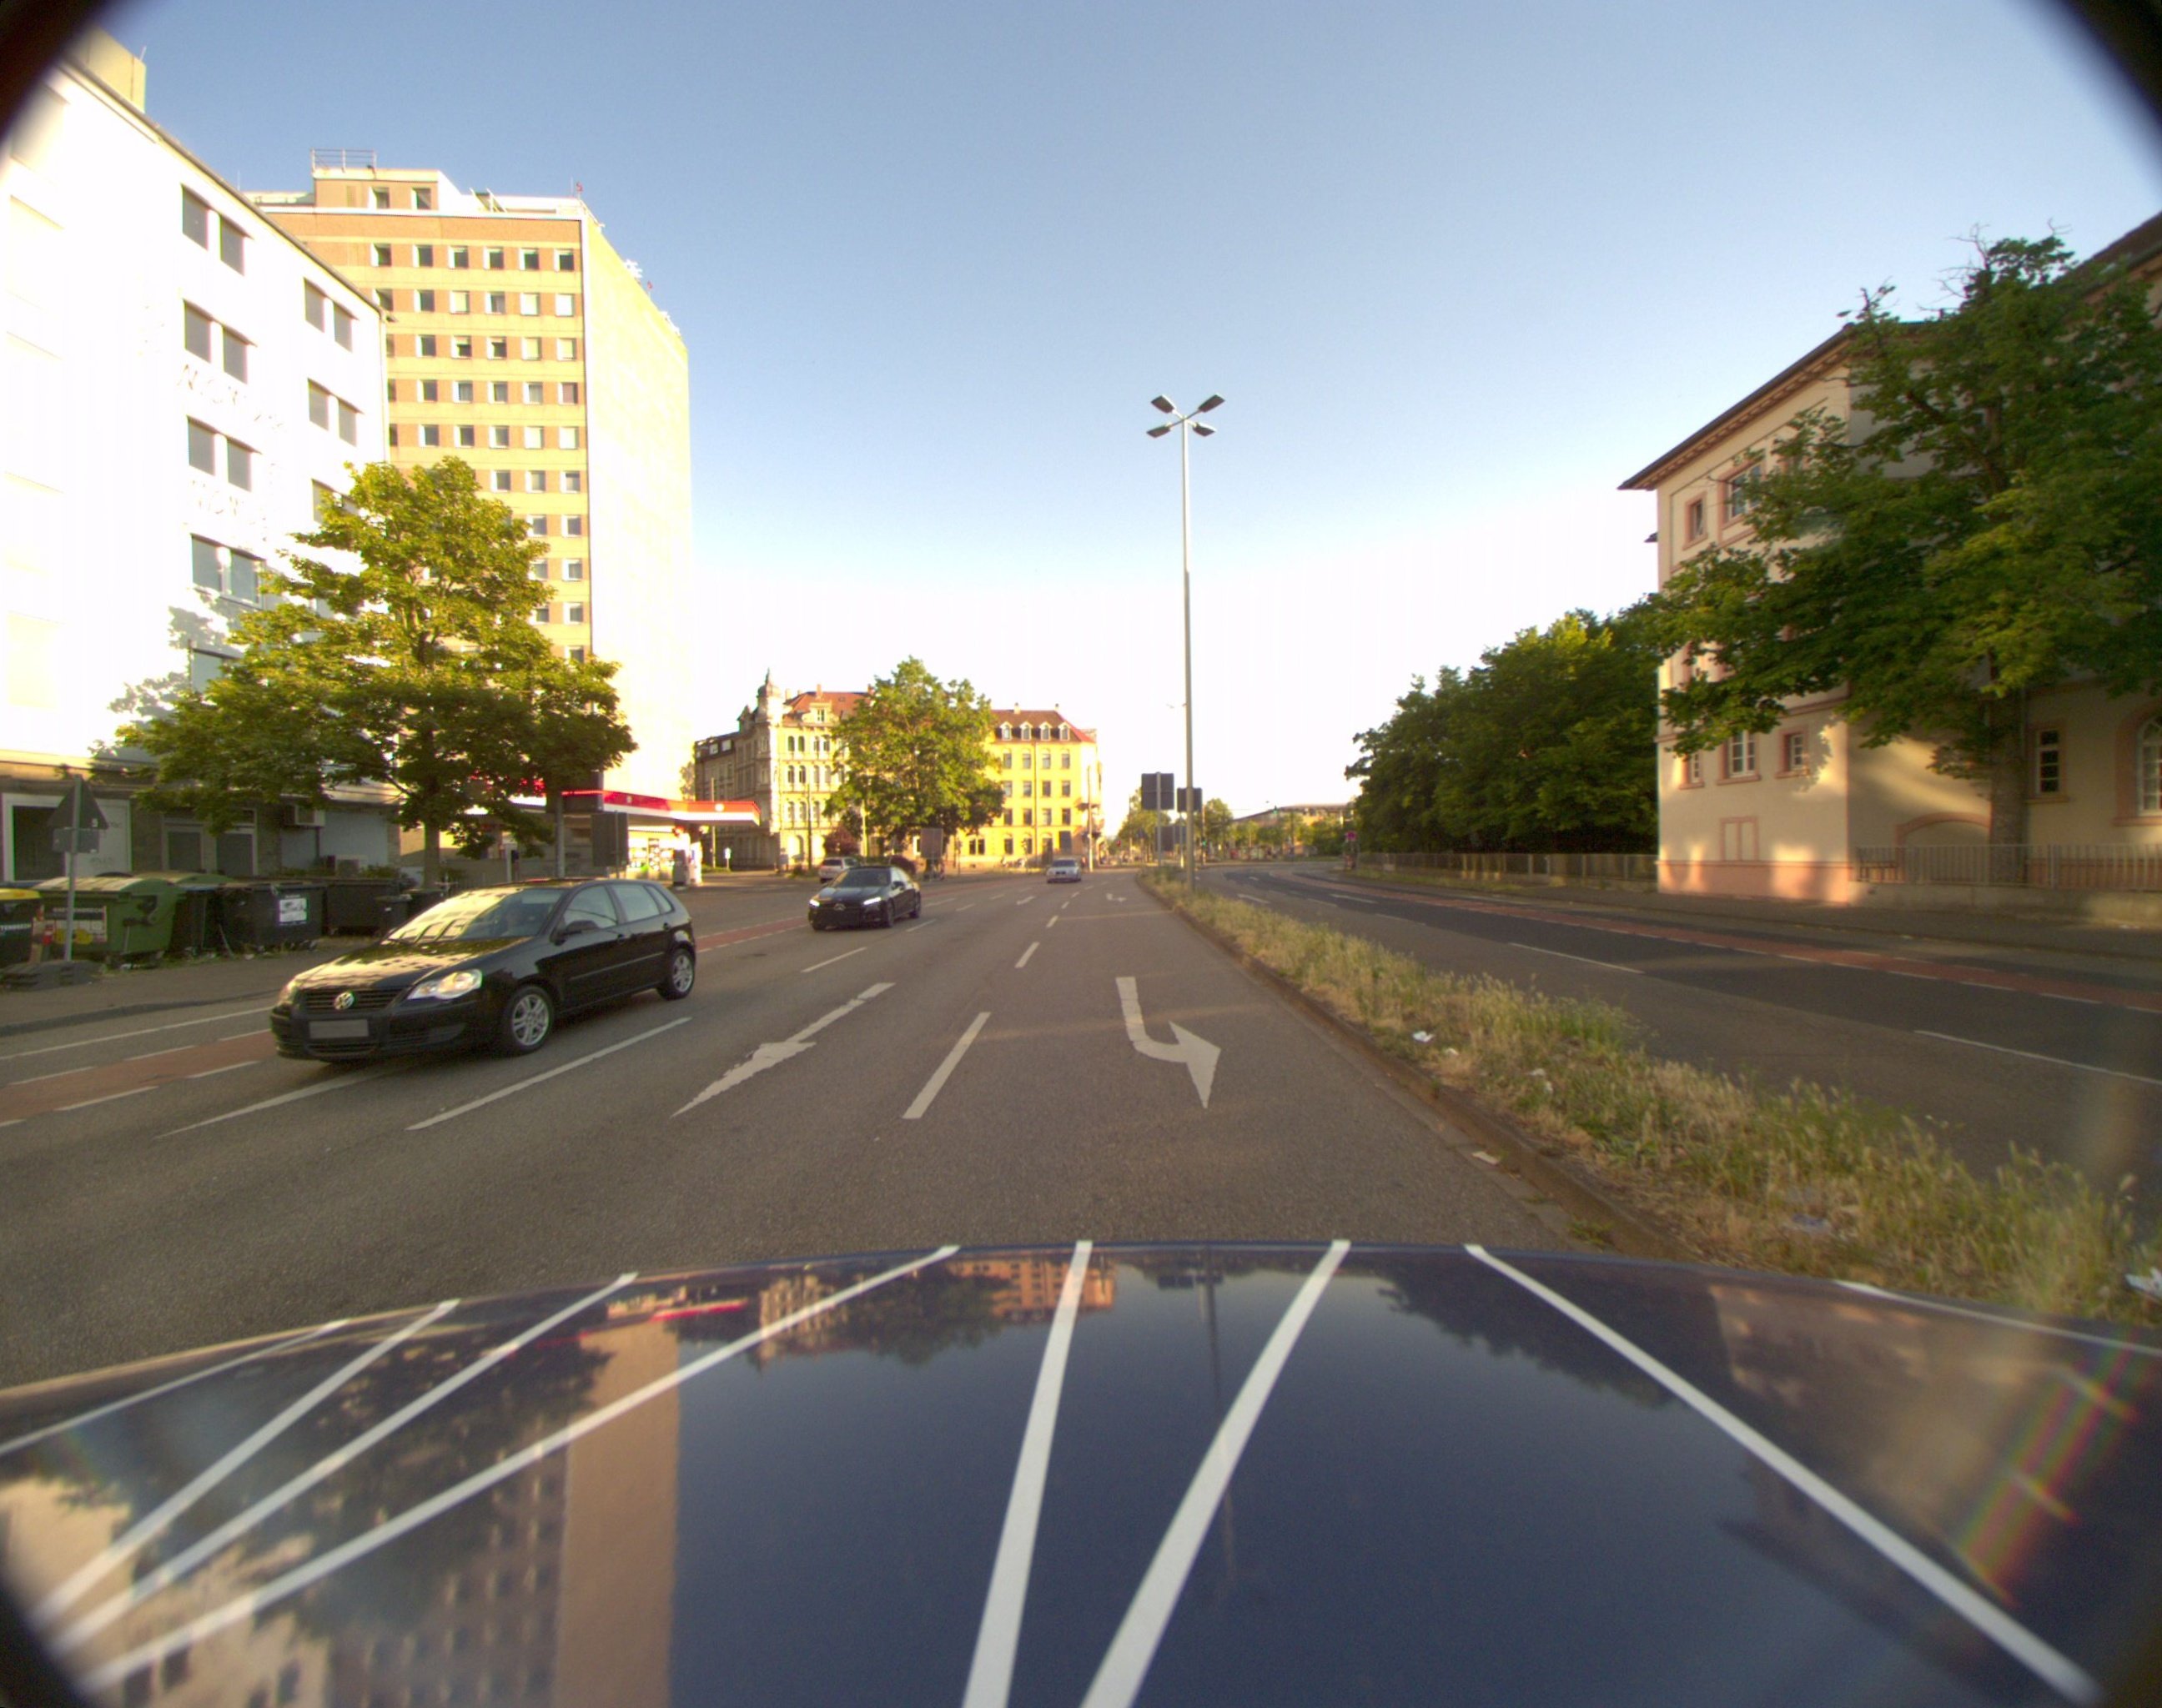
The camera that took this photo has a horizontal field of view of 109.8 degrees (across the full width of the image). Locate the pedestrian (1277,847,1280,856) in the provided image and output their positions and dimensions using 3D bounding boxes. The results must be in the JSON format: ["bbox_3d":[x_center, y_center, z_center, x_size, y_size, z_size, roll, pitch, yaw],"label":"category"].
[{"bbox_3d":[34.871,-0.419,134.179,0.467,1.695,0.419,-1,1,1],"label":"pedestrian"}]

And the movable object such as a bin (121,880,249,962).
[{"bbox_3d":[-17.127,1.257,14.570,1.034,1.440,1.162,-1,1,-2],"label":"movable object such as a bin"}]

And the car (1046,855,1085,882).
[{"bbox_3d":[-0.826,0.798,44.236,1.674,1.410,4.442,-2,0,6],"label":"car"}]

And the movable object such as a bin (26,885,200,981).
[{"bbox_3d":[-15.816,1.258,12.465,1.351,1.415,1.105,-1,1,-4],"label":"movable object such as a bin"}]

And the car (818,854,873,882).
[{"bbox_3d":[-13.958,0.818,45.282,1.688,1.508,3.798,-1,1,8],"label":"car"}]

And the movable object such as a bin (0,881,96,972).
[{"bbox_3d":[-18.694,1.254,13.411,1.034,1.490,1.162,-1,1,-2],"label":"movable object such as a bin"}]

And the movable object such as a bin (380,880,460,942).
[{"bbox_3d":[-14.884,1.263,17.142,0.956,1.320,0.953,-1,1,-2],"label":"movable object such as a bin"}]

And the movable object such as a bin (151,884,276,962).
[{"bbox_3d":[-16.044,1.255,14.101,0.956,1.320,1.162,-1,1,-2],"label":"movable object such as a bin"}]

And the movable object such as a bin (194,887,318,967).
[{"bbox_3d":[-14.978,1.293,13.835,0.956,1.320,1.162,-1,1,-2],"label":"movable object such as a bin"}]

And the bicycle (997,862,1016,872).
[{"bbox_3d":[-7.675,1.336,77.878,1.927,1.053,0.451,-1,1,-7],"label":"bicycle"}]

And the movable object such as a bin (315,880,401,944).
[{"bbox_3d":[-15.881,1.254,16.716,0.956,1.320,0.953,-1,1,-2],"label":"movable object such as a bin"}]

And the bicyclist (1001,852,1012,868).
[{"bbox_3d":[-7.626,0.606,77.932,1.065,1.639,0.732,-1,1,-7],"label":"bicyclist"}]

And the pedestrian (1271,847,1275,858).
[{"bbox_3d":[33.857,-0.288,133.901,0.556,2.002,0.664,-1,1,1],"label":"pedestrian"}]

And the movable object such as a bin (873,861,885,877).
[{"bbox_3d":[-13.152,0.973,49.560,0.544,1.013,0.688,-1,1,5],"label":"movable object such as a bin"}]

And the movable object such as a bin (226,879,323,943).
[{"bbox_3d":[-17.934,1.242,16.922,0.956,1.320,1.098,-1,1,-2],"label":"movable object such as a bin"}]

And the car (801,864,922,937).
[{"bbox_3d":[-5.165,1.031,18.468,1.731,1.441,4.045,-2,0,0],"label":"car"}]

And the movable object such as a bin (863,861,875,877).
[{"bbox_3d":[-13.873,0.988,49.771,0.544,1.013,0.688,-1,1,5],"label":"movable object such as a bin"}]

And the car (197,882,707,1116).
[{"bbox_3d":[-5.377,1.093,7.281,1.584,1.441,3.872,-2,0,1],"label":"car"}]

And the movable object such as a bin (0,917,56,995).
[{"bbox_3d":[-15.517,1.456,10.752,0.853,1.039,0.819,-1,1,-4],"label":"movable object such as a bin"}]

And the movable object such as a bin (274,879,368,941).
[{"bbox_3d":[-16.937,1.230,16.966,0.956,1.276,1.098,-1,1,-2],"label":"movable object such as a bin"}]

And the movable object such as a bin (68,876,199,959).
[{"bbox_3d":[-18.303,1.195,14.723,1.034,1.490,1.162,-1,1,-2],"label":"movable object such as a bin"}]
